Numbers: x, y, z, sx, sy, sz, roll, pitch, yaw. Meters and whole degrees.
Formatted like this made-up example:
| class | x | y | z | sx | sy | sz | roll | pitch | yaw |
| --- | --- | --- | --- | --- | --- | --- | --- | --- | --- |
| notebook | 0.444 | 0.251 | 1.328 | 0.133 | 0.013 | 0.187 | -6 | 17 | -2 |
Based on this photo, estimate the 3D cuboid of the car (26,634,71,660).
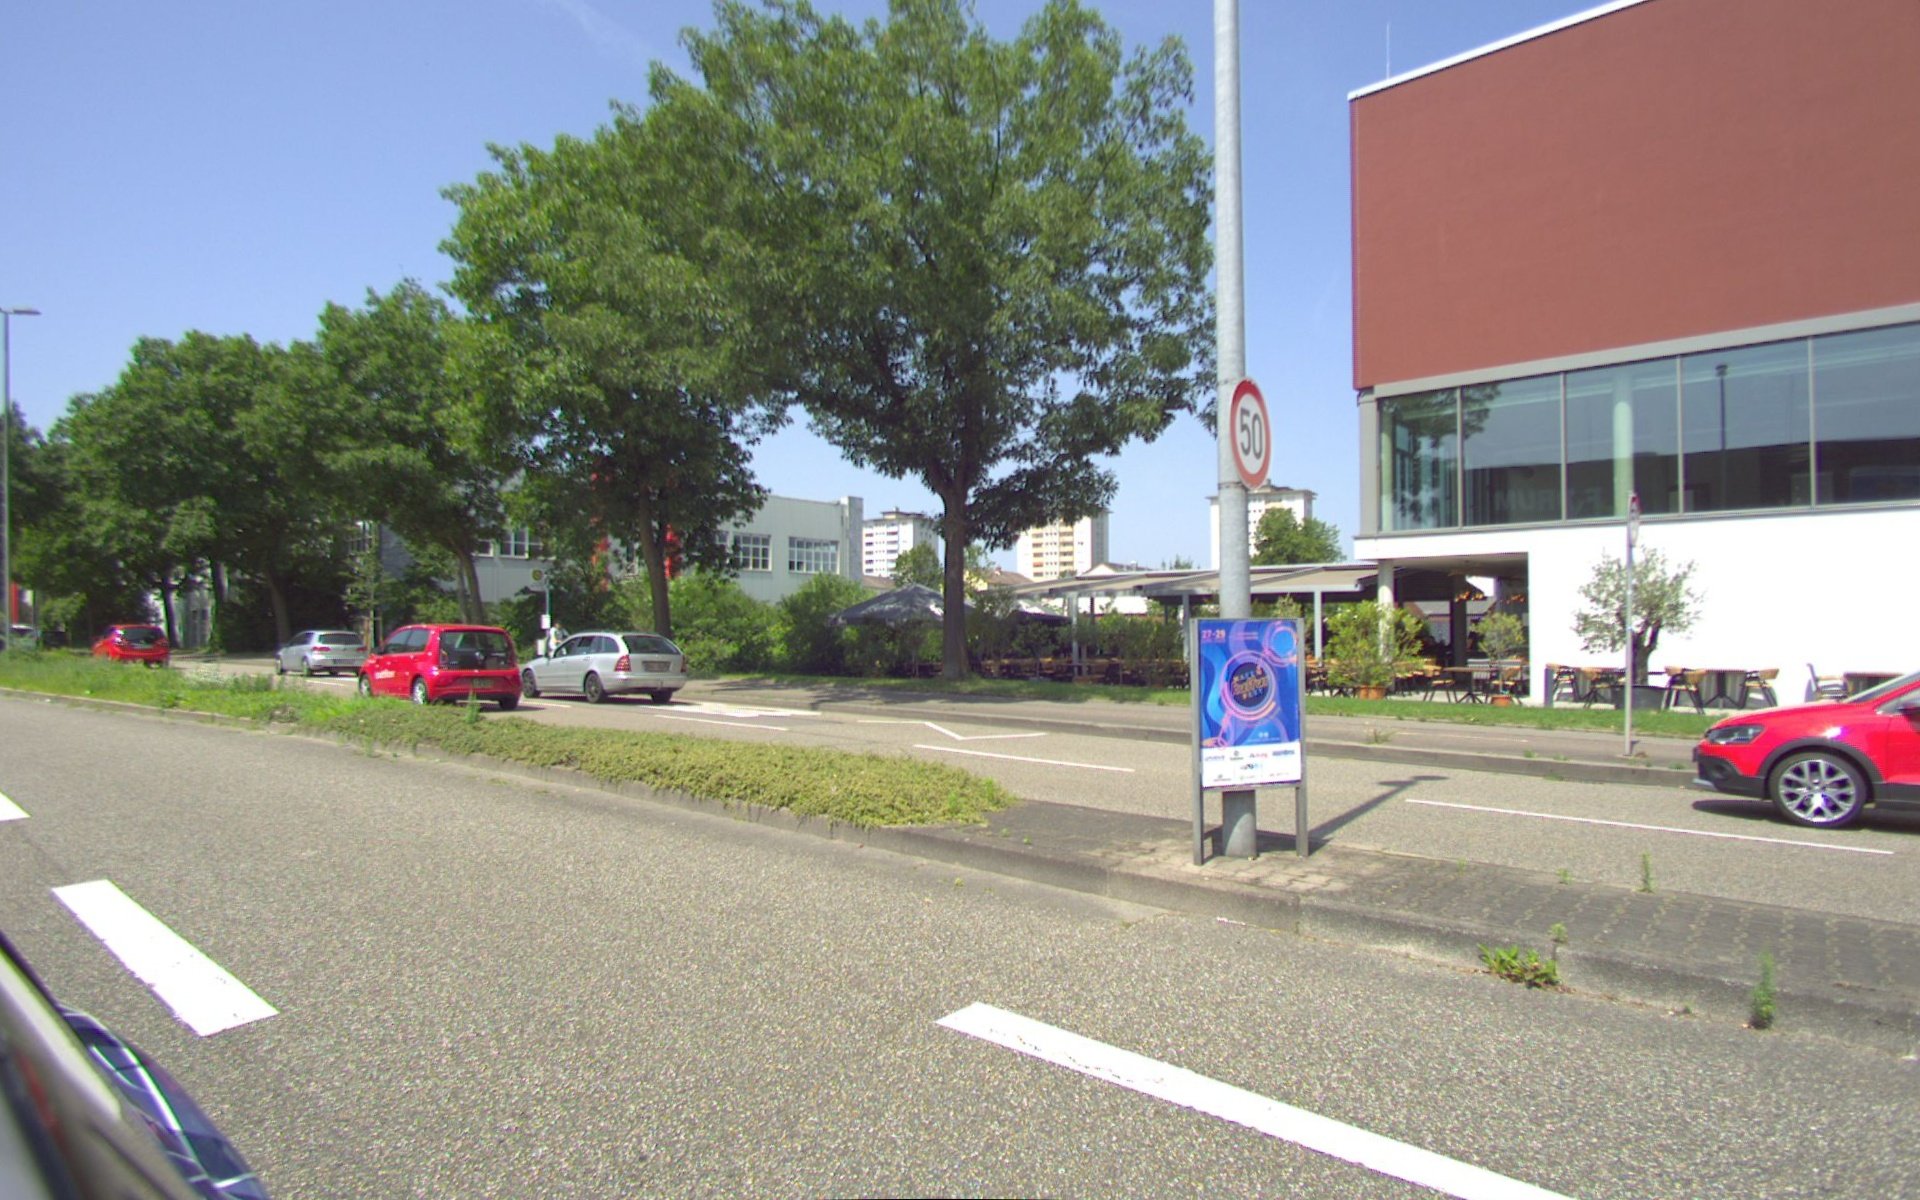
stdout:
| class | x | y | z | sx | sy | sz | roll | pitch | yaw |
| --- | --- | --- | --- | --- | --- | --- | --- | --- | --- |
| car | -61.134 | 3.133 | 67.861 | 4.210 | 1.616 | 1.698 | -2 | -5 | 41 |

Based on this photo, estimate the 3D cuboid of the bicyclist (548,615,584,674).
| class | x | y | z | sx | sy | sz | roll | pitch | yaw |
| --- | --- | --- | --- | --- | --- | --- | --- | --- | --- |
| bicyclist | -11.133 | 1.258 | 28.595 | 0.923 | 1.643 | 0.601 | -2 | -3 | 41 |

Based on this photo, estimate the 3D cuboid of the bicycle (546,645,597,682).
| class | x | y | z | sx | sy | sz | roll | pitch | yaw |
| --- | --- | --- | --- | --- | --- | --- | --- | --- | --- |
| bicycle | -10.889 | 1.758 | 28.346 | 1.659 | 0.976 | 0.610 | -2 | -2 | 42 |

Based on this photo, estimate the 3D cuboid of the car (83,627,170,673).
| class | x | y | z | sx | sy | sz | roll | pitch | yaw |
| --- | --- | --- | --- | --- | --- | --- | --- | --- | --- |
| car | -30.606 | 1.839 | 37.136 | 4.150 | 1.582 | 1.731 | -2 | -5 | 41 |

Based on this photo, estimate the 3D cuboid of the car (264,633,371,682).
| class | x | y | z | sx | sy | sz | roll | pitch | yaw |
| --- | --- | --- | --- | --- | --- | --- | --- | --- | --- |
| car | -20.677 | 1.825 | 32.508 | 4.131 | 1.462 | 1.731 | -2 | -5 | 41 |

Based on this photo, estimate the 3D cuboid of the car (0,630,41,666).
| class | x | y | z | sx | sy | sz | roll | pitch | yaw |
| --- | --- | --- | --- | --- | --- | --- | --- | --- | --- |
| car | -52.446 | 2.648 | 55.872 | 4.422 | 1.920 | 1.833 | -2 | -5 | 40 |

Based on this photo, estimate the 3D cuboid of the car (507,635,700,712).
| class | x | y | z | sx | sy | sz | roll | pitch | yaw |
| --- | --- | --- | --- | --- | --- | --- | --- | --- | --- |
| car | -7.434 | 1.474 | 20.925 | 4.356 | 1.415 | 1.759 | -2 | -5 | 40 |

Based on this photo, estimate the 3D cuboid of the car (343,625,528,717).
| class | x | y | z | sx | sy | sz | roll | pitch | yaw |
| --- | --- | --- | --- | --- | --- | --- | --- | --- | --- |
| car | -9.275 | 1.212 | 17.804 | 3.605 | 1.452 | 1.564 | -2 | -4 | 40 |

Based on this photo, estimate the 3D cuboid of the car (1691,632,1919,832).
| class | x | y | z | sx | sy | sz | roll | pitch | yaw |
| --- | --- | --- | --- | --- | --- | --- | --- | --- | --- |
| car | 8.041 | 1.006 | 7.681 | 3.889 | 1.464 | 1.687 | -2 | -5 | 41 |
